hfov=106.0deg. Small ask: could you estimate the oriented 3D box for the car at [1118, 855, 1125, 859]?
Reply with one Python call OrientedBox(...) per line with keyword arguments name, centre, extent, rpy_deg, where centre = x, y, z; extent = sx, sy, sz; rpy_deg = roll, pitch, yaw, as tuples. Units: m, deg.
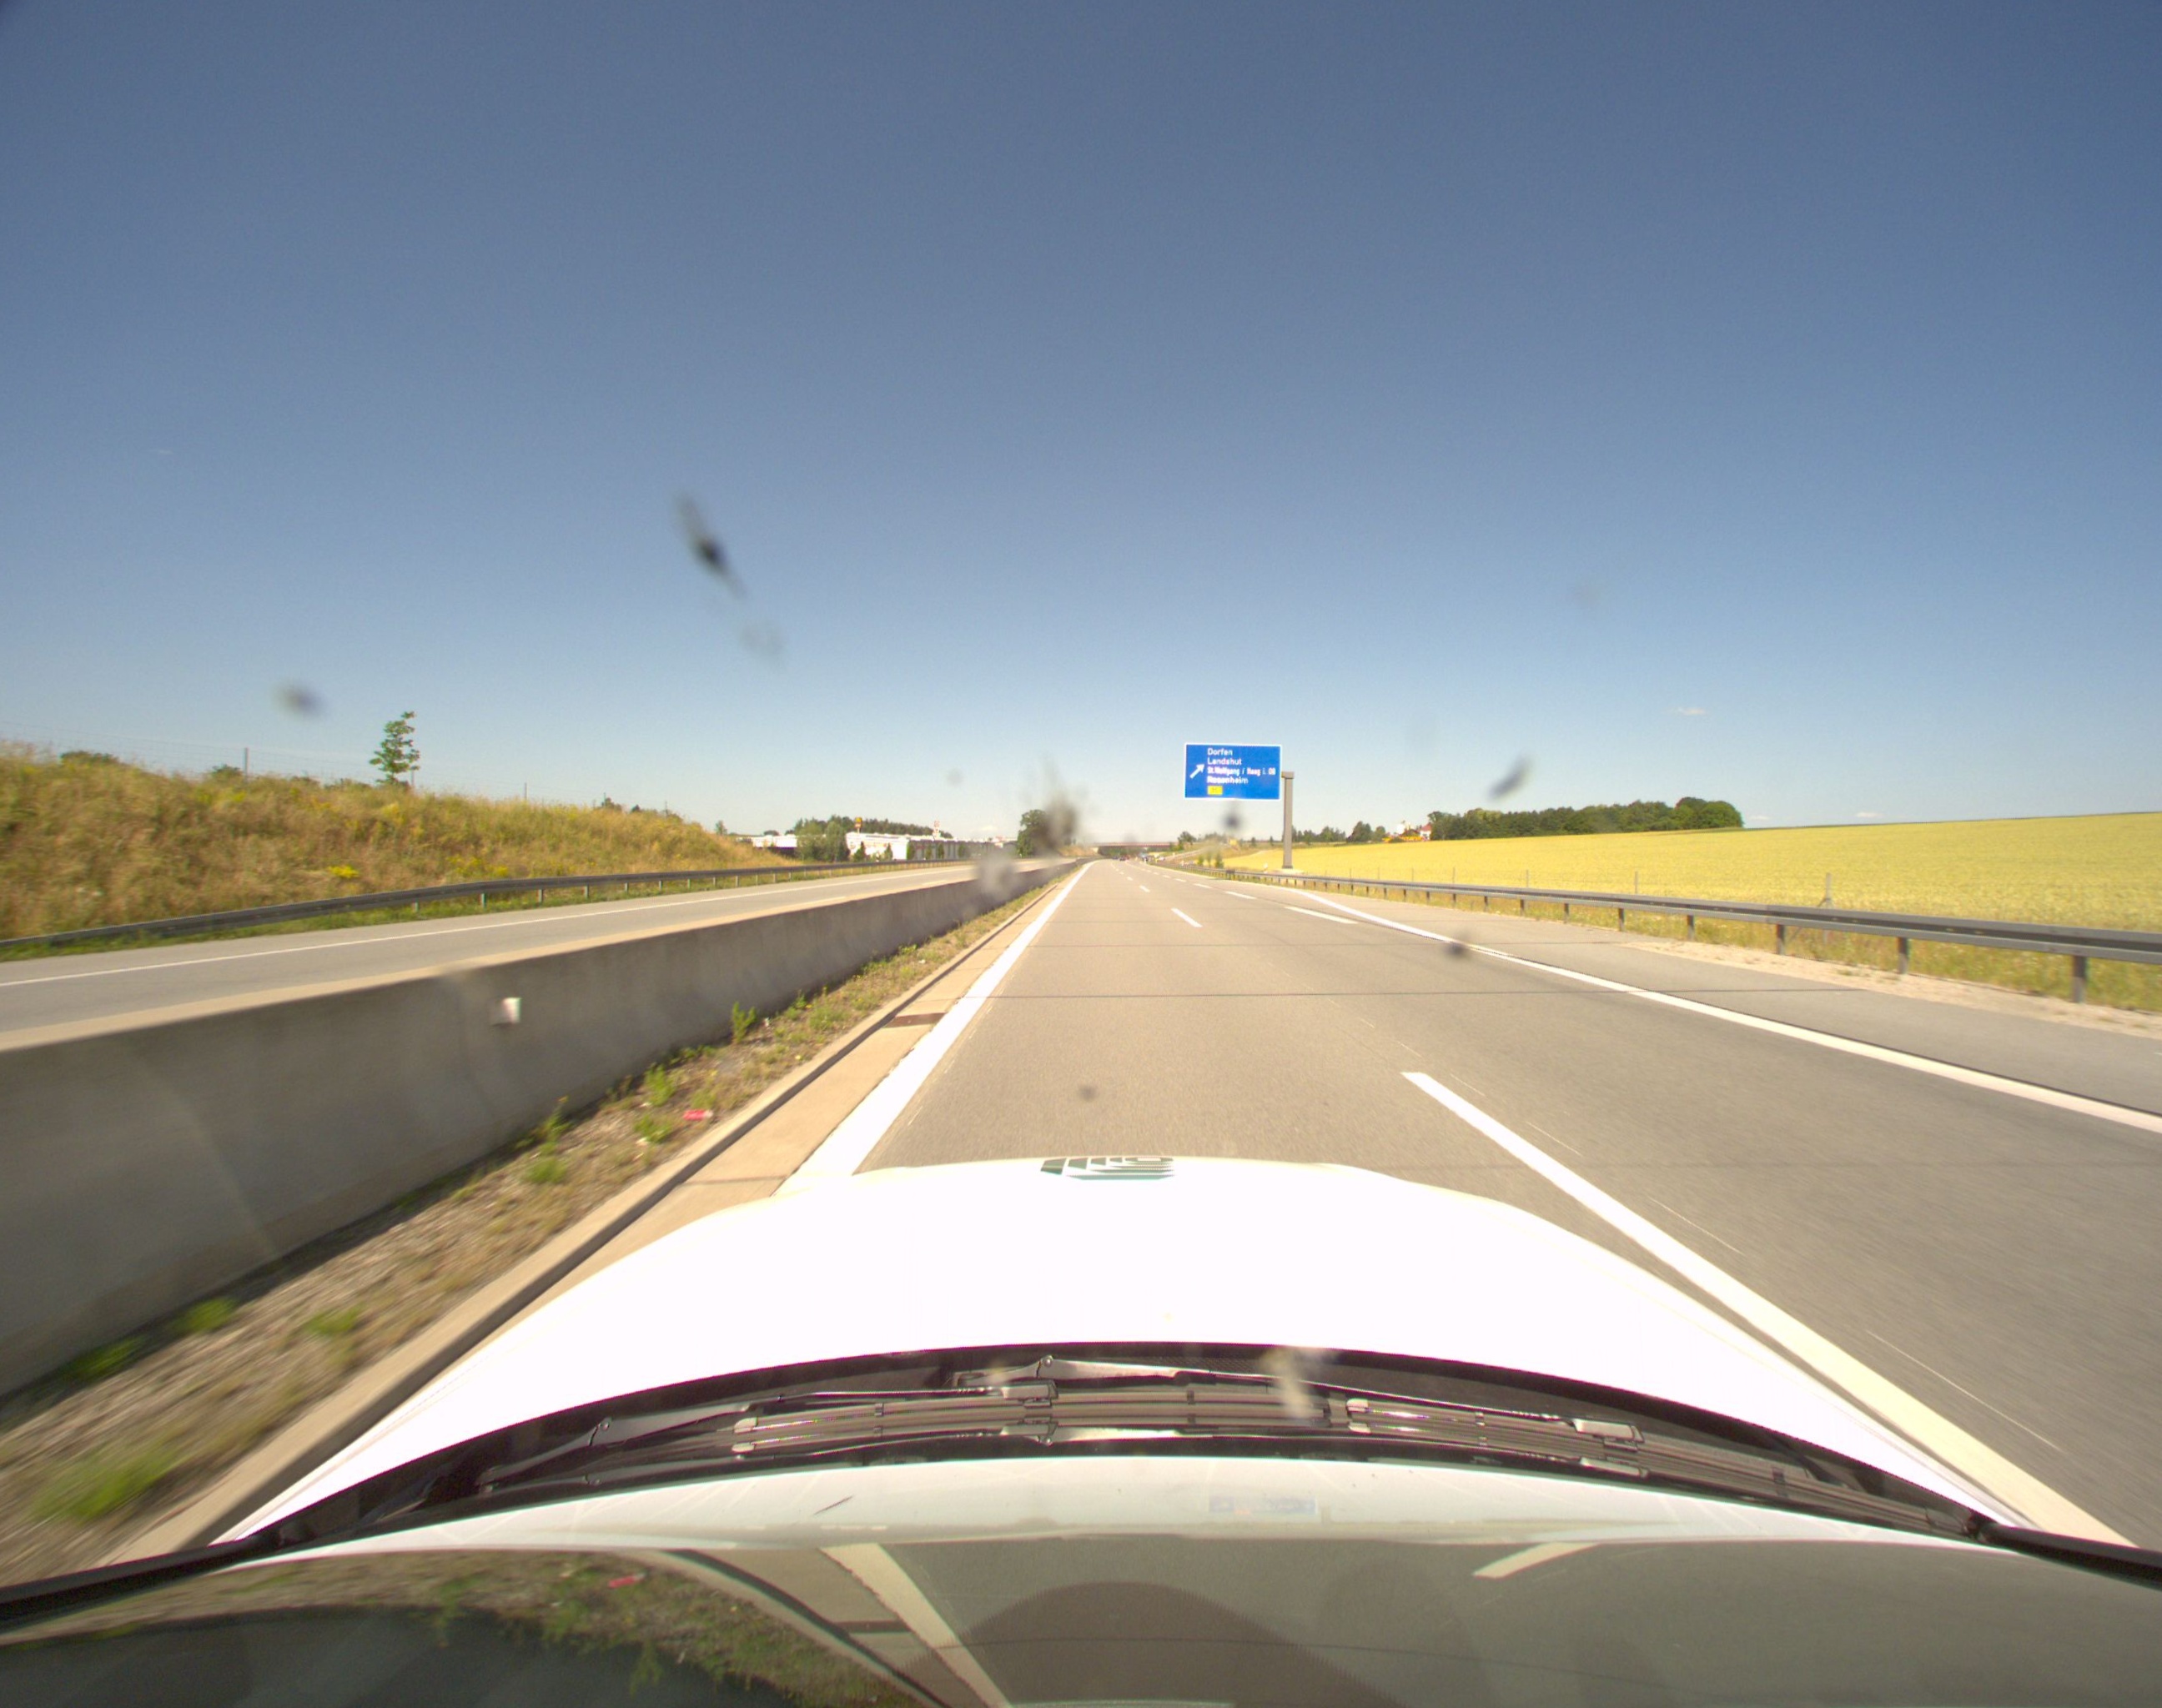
OrientedBox(name="car", centre=(13.017, 0.992, 259.582), extent=(1.984, 1.420, 4.006), rpy_deg=(0, 0, 5))
